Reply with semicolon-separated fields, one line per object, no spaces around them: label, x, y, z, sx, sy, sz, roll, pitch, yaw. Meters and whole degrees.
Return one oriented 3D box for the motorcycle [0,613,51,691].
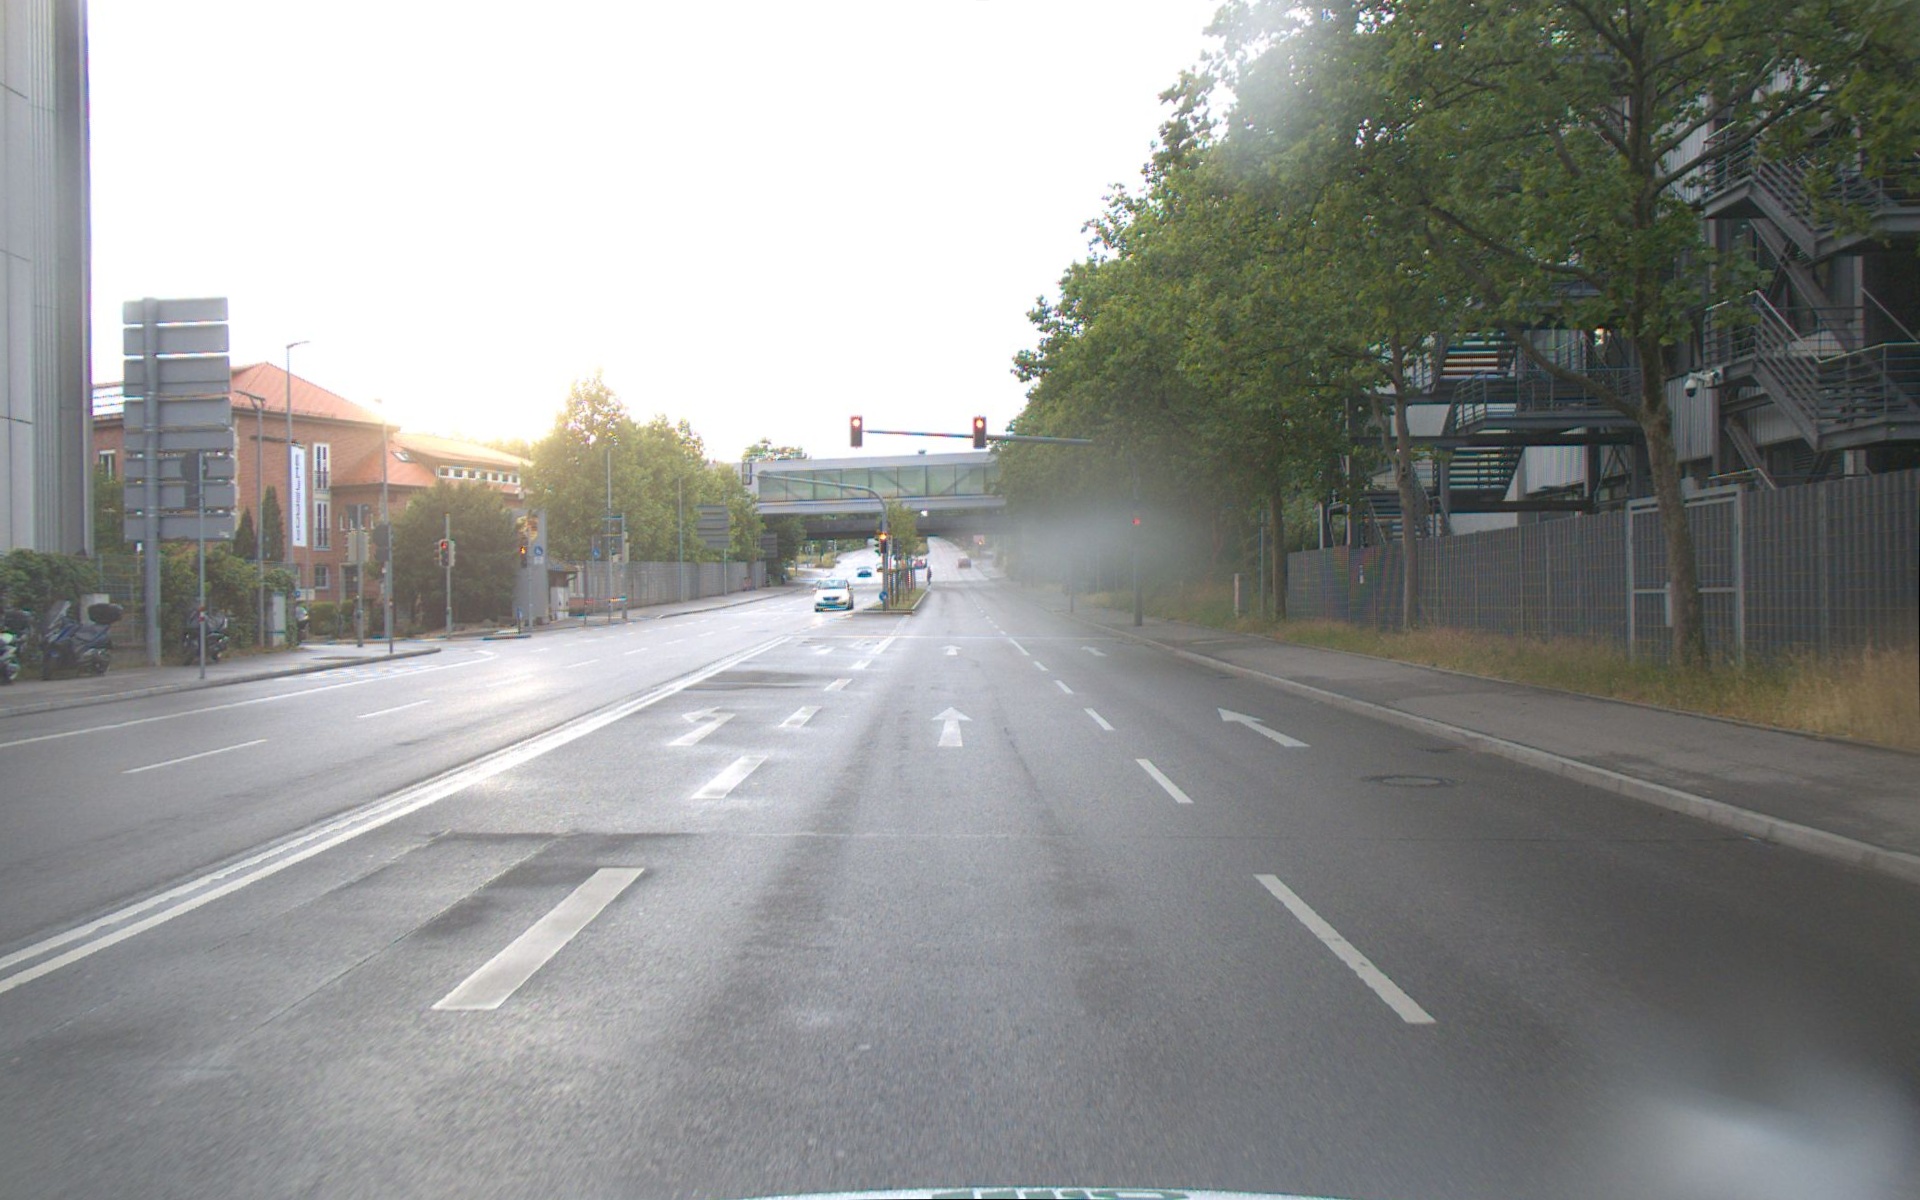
motorcycle;-16.409;0.886;28.087;0.769;1.272;2.157;-1;0;-1

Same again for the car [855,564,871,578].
car;-12.506;-3.758;214.071;1.839;1.652;3.779;-1;1;0

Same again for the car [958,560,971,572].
car;0.662;-5.043;244.958;1.836;1.523;4.068;1;0;0

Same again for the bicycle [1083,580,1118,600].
bicycle;8.152;-0.560;95.828;1.949;1.114;0.541;1;-1;1

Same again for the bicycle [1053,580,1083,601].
bicycle;7.264;-0.613;111.097;1.949;1.352;0.576;1;-1;1

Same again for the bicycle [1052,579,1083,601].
bicycle;7.018;-0.634;107.856;1.949;1.352;0.576;1;-1;1

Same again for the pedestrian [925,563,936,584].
pedestrian;-2.873;-2.593;161.850;0.853;2.039;0.855;-2;0;17

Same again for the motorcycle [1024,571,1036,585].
motorcycle;6.874;-2.162;162.406;0.775;1.334;2.372;-2;1;-8

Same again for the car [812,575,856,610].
car;-6.217;-0.379;81.908;1.839;1.652;3.779;-1;1;0

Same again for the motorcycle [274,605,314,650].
motorcycle;-19.219;0.783;47.707;0.761;1.239;2.485;-1;1;-29

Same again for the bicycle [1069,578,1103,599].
bicycle;7.625;-0.696;100.047;1.949;1.255;0.541;1;-1;1

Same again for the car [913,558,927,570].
car;-6.124;-5.517;253.546;1.846;1.792;3.969;1;0;0

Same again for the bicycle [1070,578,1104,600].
bicycle;7.488;-0.628;97.858;1.949;1.237;0.541;1;-1;1

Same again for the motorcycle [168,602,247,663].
motorcycle;-16.515;0.687;36.356;0.769;1.269;2.157;-1;0;-1

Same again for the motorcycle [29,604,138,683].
motorcycle;-16.280;0.783;30.792;0.769;1.371;2.369;-1;0;-1

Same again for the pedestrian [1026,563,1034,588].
pedestrian;5.748;-1.980;135.614;0.609;2.049;0.605;-2;0;0

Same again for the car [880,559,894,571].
car;-10.527;-5.027;238.333;1.839;1.652;3.779;-1;1;0

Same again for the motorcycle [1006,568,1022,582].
motorcycle;5.465;-2.520;167.429;0.778;1.334;2.364;-2;1;-18

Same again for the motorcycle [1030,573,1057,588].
motorcycle;7.255;-1.721;143.517;2.318;1.223;0.723;-2;0;8

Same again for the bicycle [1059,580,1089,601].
bicycle;7.584;-0.621;110.386;1.949;1.352;0.576;1;-1;1

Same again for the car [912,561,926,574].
car;-6.136;-4.946;248.810;1.952;1.792;4.000;1;0;0

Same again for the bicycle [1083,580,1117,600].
bicycle;8.154;-0.557;96.397;1.949;1.114;0.541;1;-1;1
